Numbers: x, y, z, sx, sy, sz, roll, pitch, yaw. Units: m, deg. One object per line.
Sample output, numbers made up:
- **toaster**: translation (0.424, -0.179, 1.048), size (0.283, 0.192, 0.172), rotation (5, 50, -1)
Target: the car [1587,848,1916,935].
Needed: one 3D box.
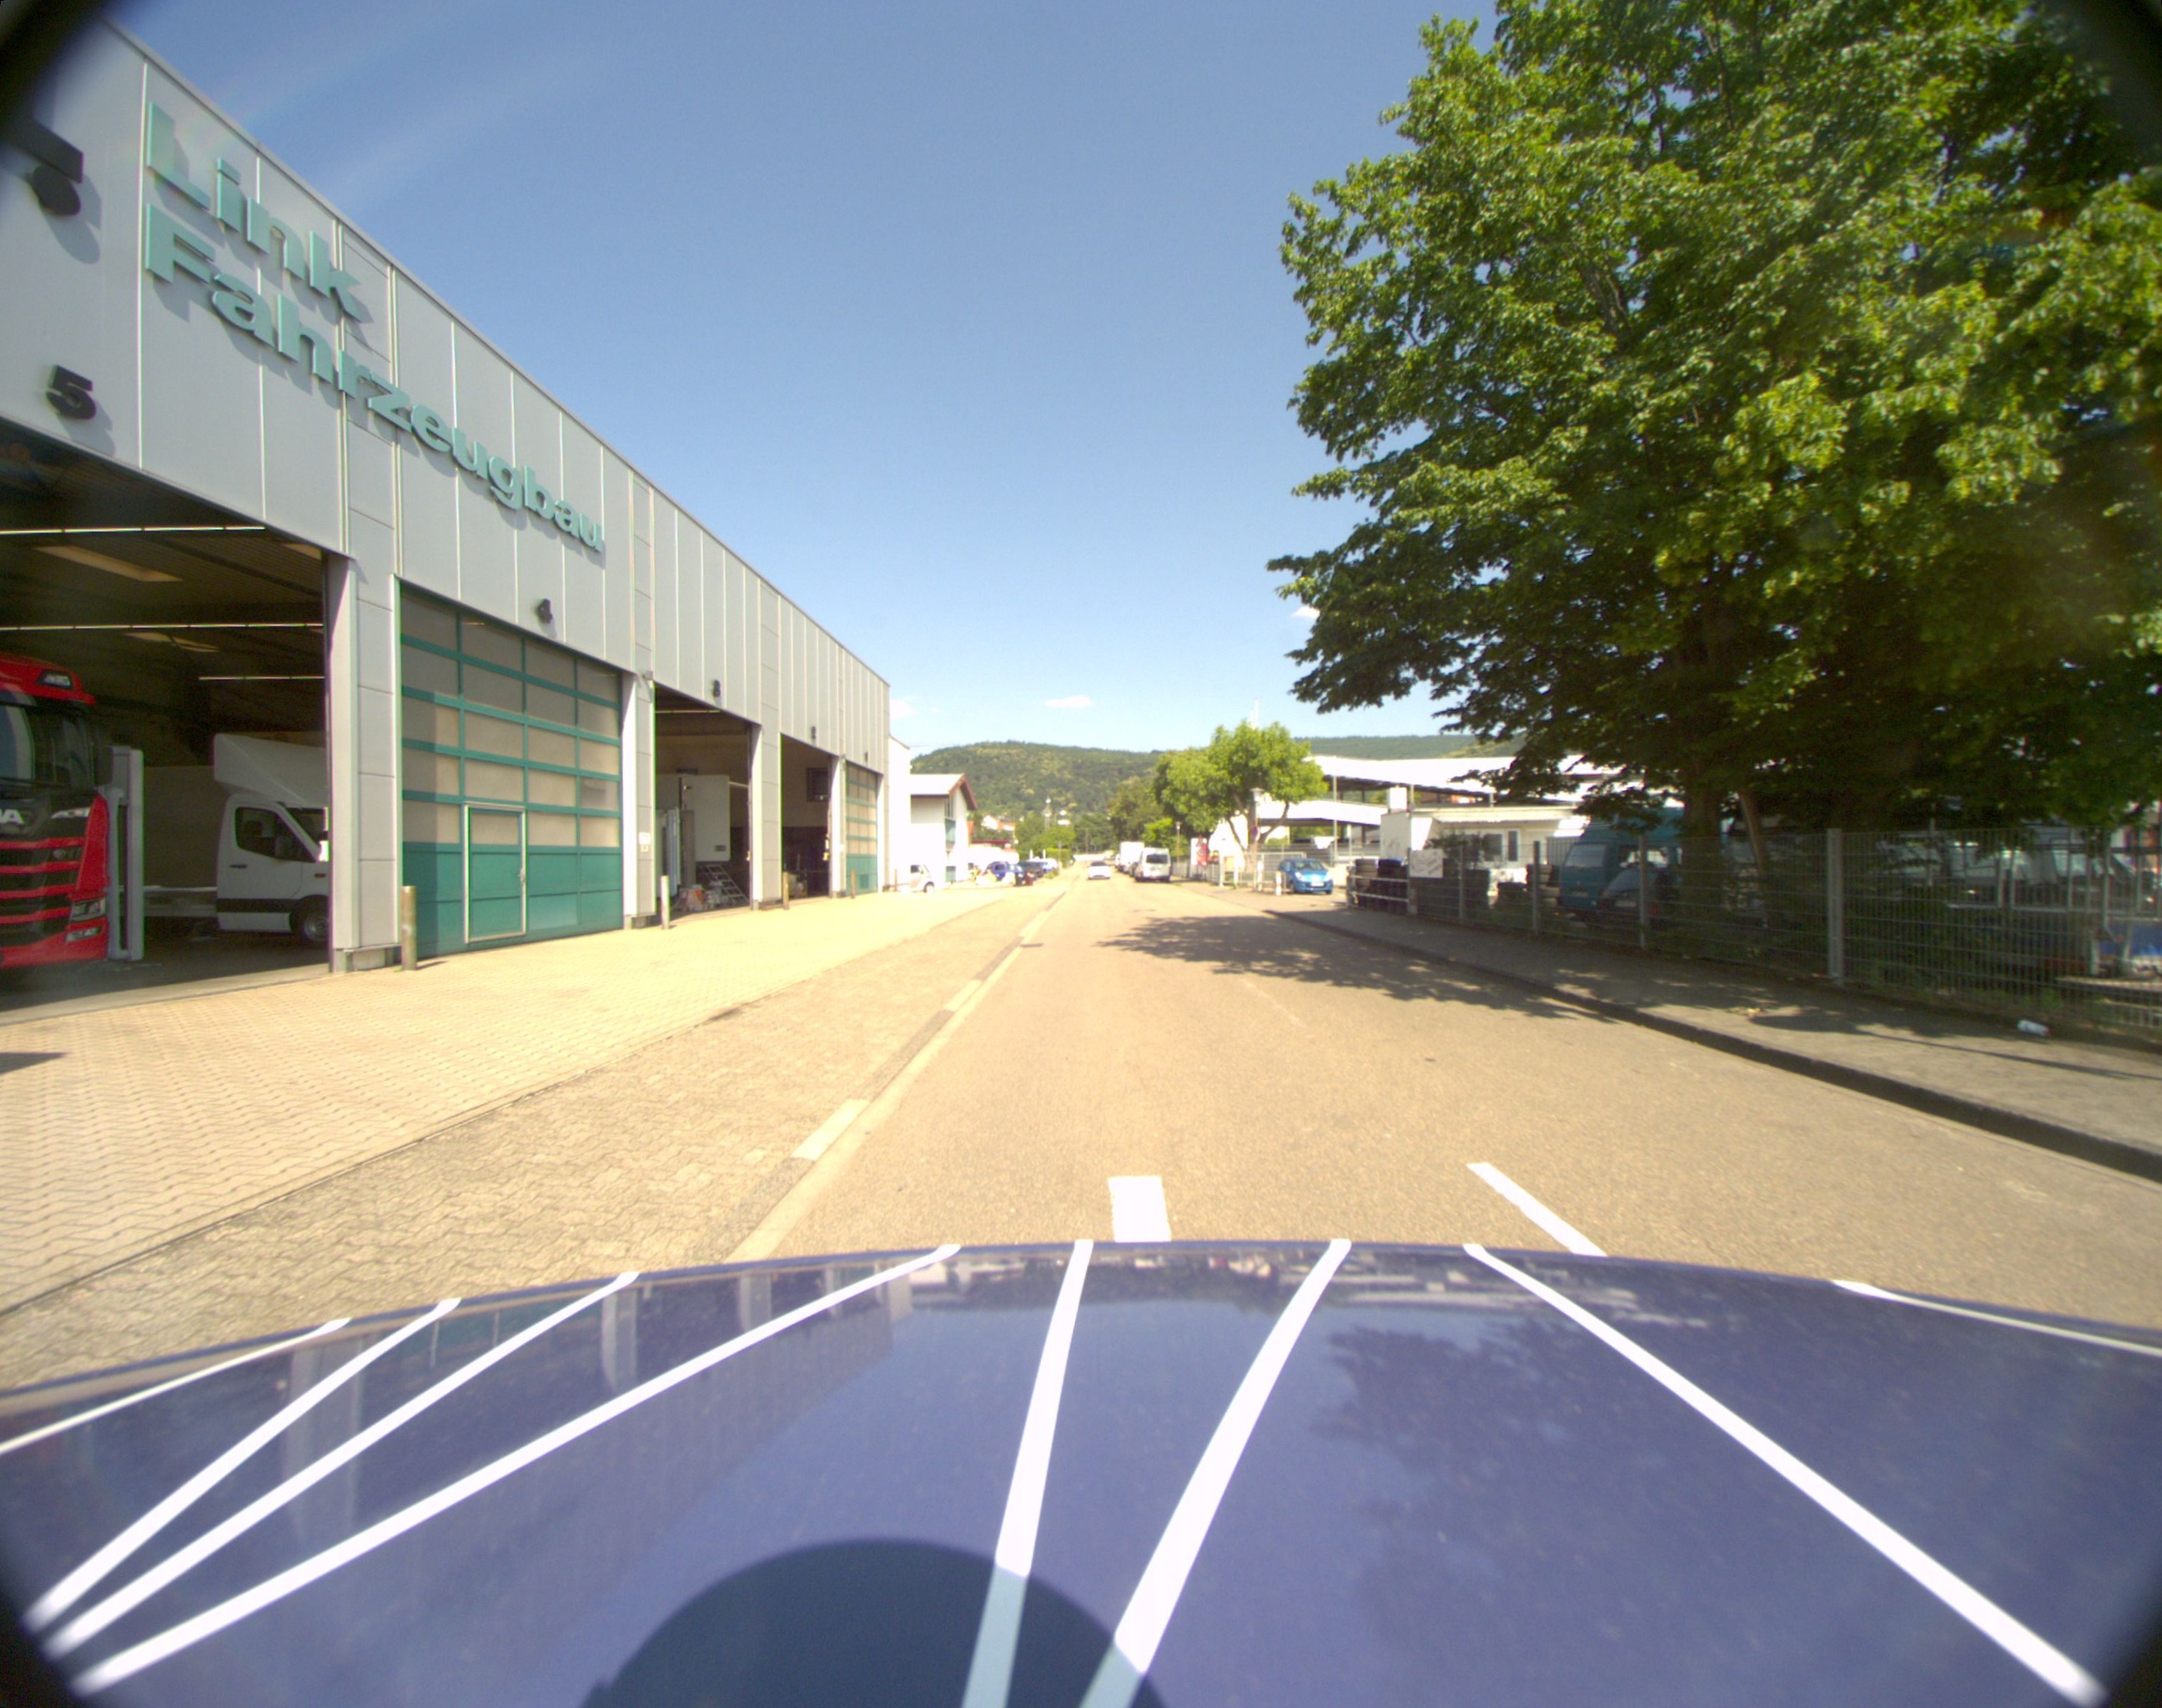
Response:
- **car**: translation (11.337, 0.594, 13.116), size (3.924, 1.378, 1.860), rotation (0, 0, 5)

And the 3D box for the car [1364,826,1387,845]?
- **car**: translation (24.414, -1.533, 62.917), size (1.705, 1.449, 3.530), rotation (-3, 1, 22)

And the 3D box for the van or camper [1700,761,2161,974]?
- **van or camper**: translation (11.648, 0.148, 10.398), size (4.666, 2.562, 1.846), rotation (1, 2, 3)

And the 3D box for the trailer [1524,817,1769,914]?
- **trailer**: translation (14.527, 0.275, 19.746), size (4.781, 2.143, 2.000), rotation (-3, 1, 2)

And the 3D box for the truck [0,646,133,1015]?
- **truck**: translation (-13.908, -0.179, 6.758), size (7.969, 3.384, 2.479), rotation (-1, 1, 2)

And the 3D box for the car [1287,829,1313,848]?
- **car**: translation (18.430, -1.279, 63.845), size (1.705, 1.449, 3.531), rotation (0, 0, 22)

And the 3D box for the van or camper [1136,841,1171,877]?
- **van or camper**: translation (5.064, 0.295, 53.335), size (2.028, 2.363, 4.685), rotation (0, 1, 0)

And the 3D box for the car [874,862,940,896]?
- **car**: translation (-8.371, 1.180, 36.699), size (1.309, 1.525, 2.829), rotation (-2, -1, 44)

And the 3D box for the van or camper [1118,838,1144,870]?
- **van or camper**: translation (5.412, -0.026, 83.599), size (2.525, 3.350, 5.591), rotation (0, 0, 0)

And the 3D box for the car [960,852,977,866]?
- **car**: translation (-12.351, 0.550, 83.467), size (1.452, 1.371, 3.186), rotation (-3, 1, -2)

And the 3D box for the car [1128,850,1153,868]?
- **car**: translation (5.198, 0.401, 66.756), size (1.708, 1.449, 3.524), rotation (-3, 1, -2)

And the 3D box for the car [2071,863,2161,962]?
- **car**: translation (16.904, 0.820, 10.722), size (3.634, 1.370, 1.731), rotation (0, 0, -1)

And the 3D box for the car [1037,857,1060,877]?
- **car**: translation (-2.709, 1.085, 62.444), size (1.453, 1.487, 3.184), rotation (-3, 1, -10)

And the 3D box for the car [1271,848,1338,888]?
- **car**: translation (9.151, 0.538, 31.363), size (1.644, 1.449, 3.524), rotation (-3, 1, 0)

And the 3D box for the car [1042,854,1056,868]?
- **car**: translation (-3.526, 0.757, 83.274), size (1.452, 1.371, 3.186), rotation (-3, 1, -2)

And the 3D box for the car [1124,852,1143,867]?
- **car**: translation (5.331, 0.546, 77.915), size (1.708, 1.449, 3.525), rotation (-1, 0, 1)

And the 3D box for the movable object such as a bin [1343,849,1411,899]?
- **movable object such as a bin**: translation (8.935, 0.582, 23.047), size (1.383, 1.350, 2.104), rotation (-3, 1, 6)

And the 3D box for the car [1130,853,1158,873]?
- **car**: translation (4.962, 0.674, 60.241), size (1.708, 1.449, 3.524), rotation (-3, 1, -2)

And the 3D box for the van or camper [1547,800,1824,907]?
- **van or camper**: translation (12.297, -0.011, 15.683), size (4.192, 1.853, 1.774), rotation (-3, 1, 3)

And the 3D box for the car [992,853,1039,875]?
- **car**: translation (-4.488, 0.691, 52.114), size (2.975, 1.332, 1.453), rotation (-3, 1, 2)

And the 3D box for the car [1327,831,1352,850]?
- **car**: translation (21.557, -1.146, 63.205), size (1.705, 1.449, 3.530), rotation (-3, 1, 22)

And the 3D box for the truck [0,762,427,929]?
- **truck**: translation (-19.854, -0.172, 17.236), size (7.571, 3.439, 2.769), rotation (-1, 1, 1)

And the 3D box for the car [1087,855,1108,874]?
- **car**: translation (1.363, 0.820, 62.796), size (1.736, 1.521, 4.109), rotation (0, 0, 1)

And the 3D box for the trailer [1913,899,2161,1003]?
- **trailer**: translation (11.714, 1.015, 8.345), size (3.289, 0.934, 1.613), rotation (0, 0, 3)

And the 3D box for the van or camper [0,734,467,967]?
- **van or camper**: translation (-12.998, -0.064, 11.831), size (5.055, 3.187, 1.999), rotation (-1, 1, -1)

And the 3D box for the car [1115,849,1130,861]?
- **car**: translation (5.802, 0.156, 107.347), size (1.708, 1.564, 3.524), rotation (-3, 1, -2)

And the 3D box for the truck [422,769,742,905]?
- **truck**: translation (-14.704, -0.463, 22.766), size (7.854, 3.760, 2.625), rotation (-1, 1, 2)
